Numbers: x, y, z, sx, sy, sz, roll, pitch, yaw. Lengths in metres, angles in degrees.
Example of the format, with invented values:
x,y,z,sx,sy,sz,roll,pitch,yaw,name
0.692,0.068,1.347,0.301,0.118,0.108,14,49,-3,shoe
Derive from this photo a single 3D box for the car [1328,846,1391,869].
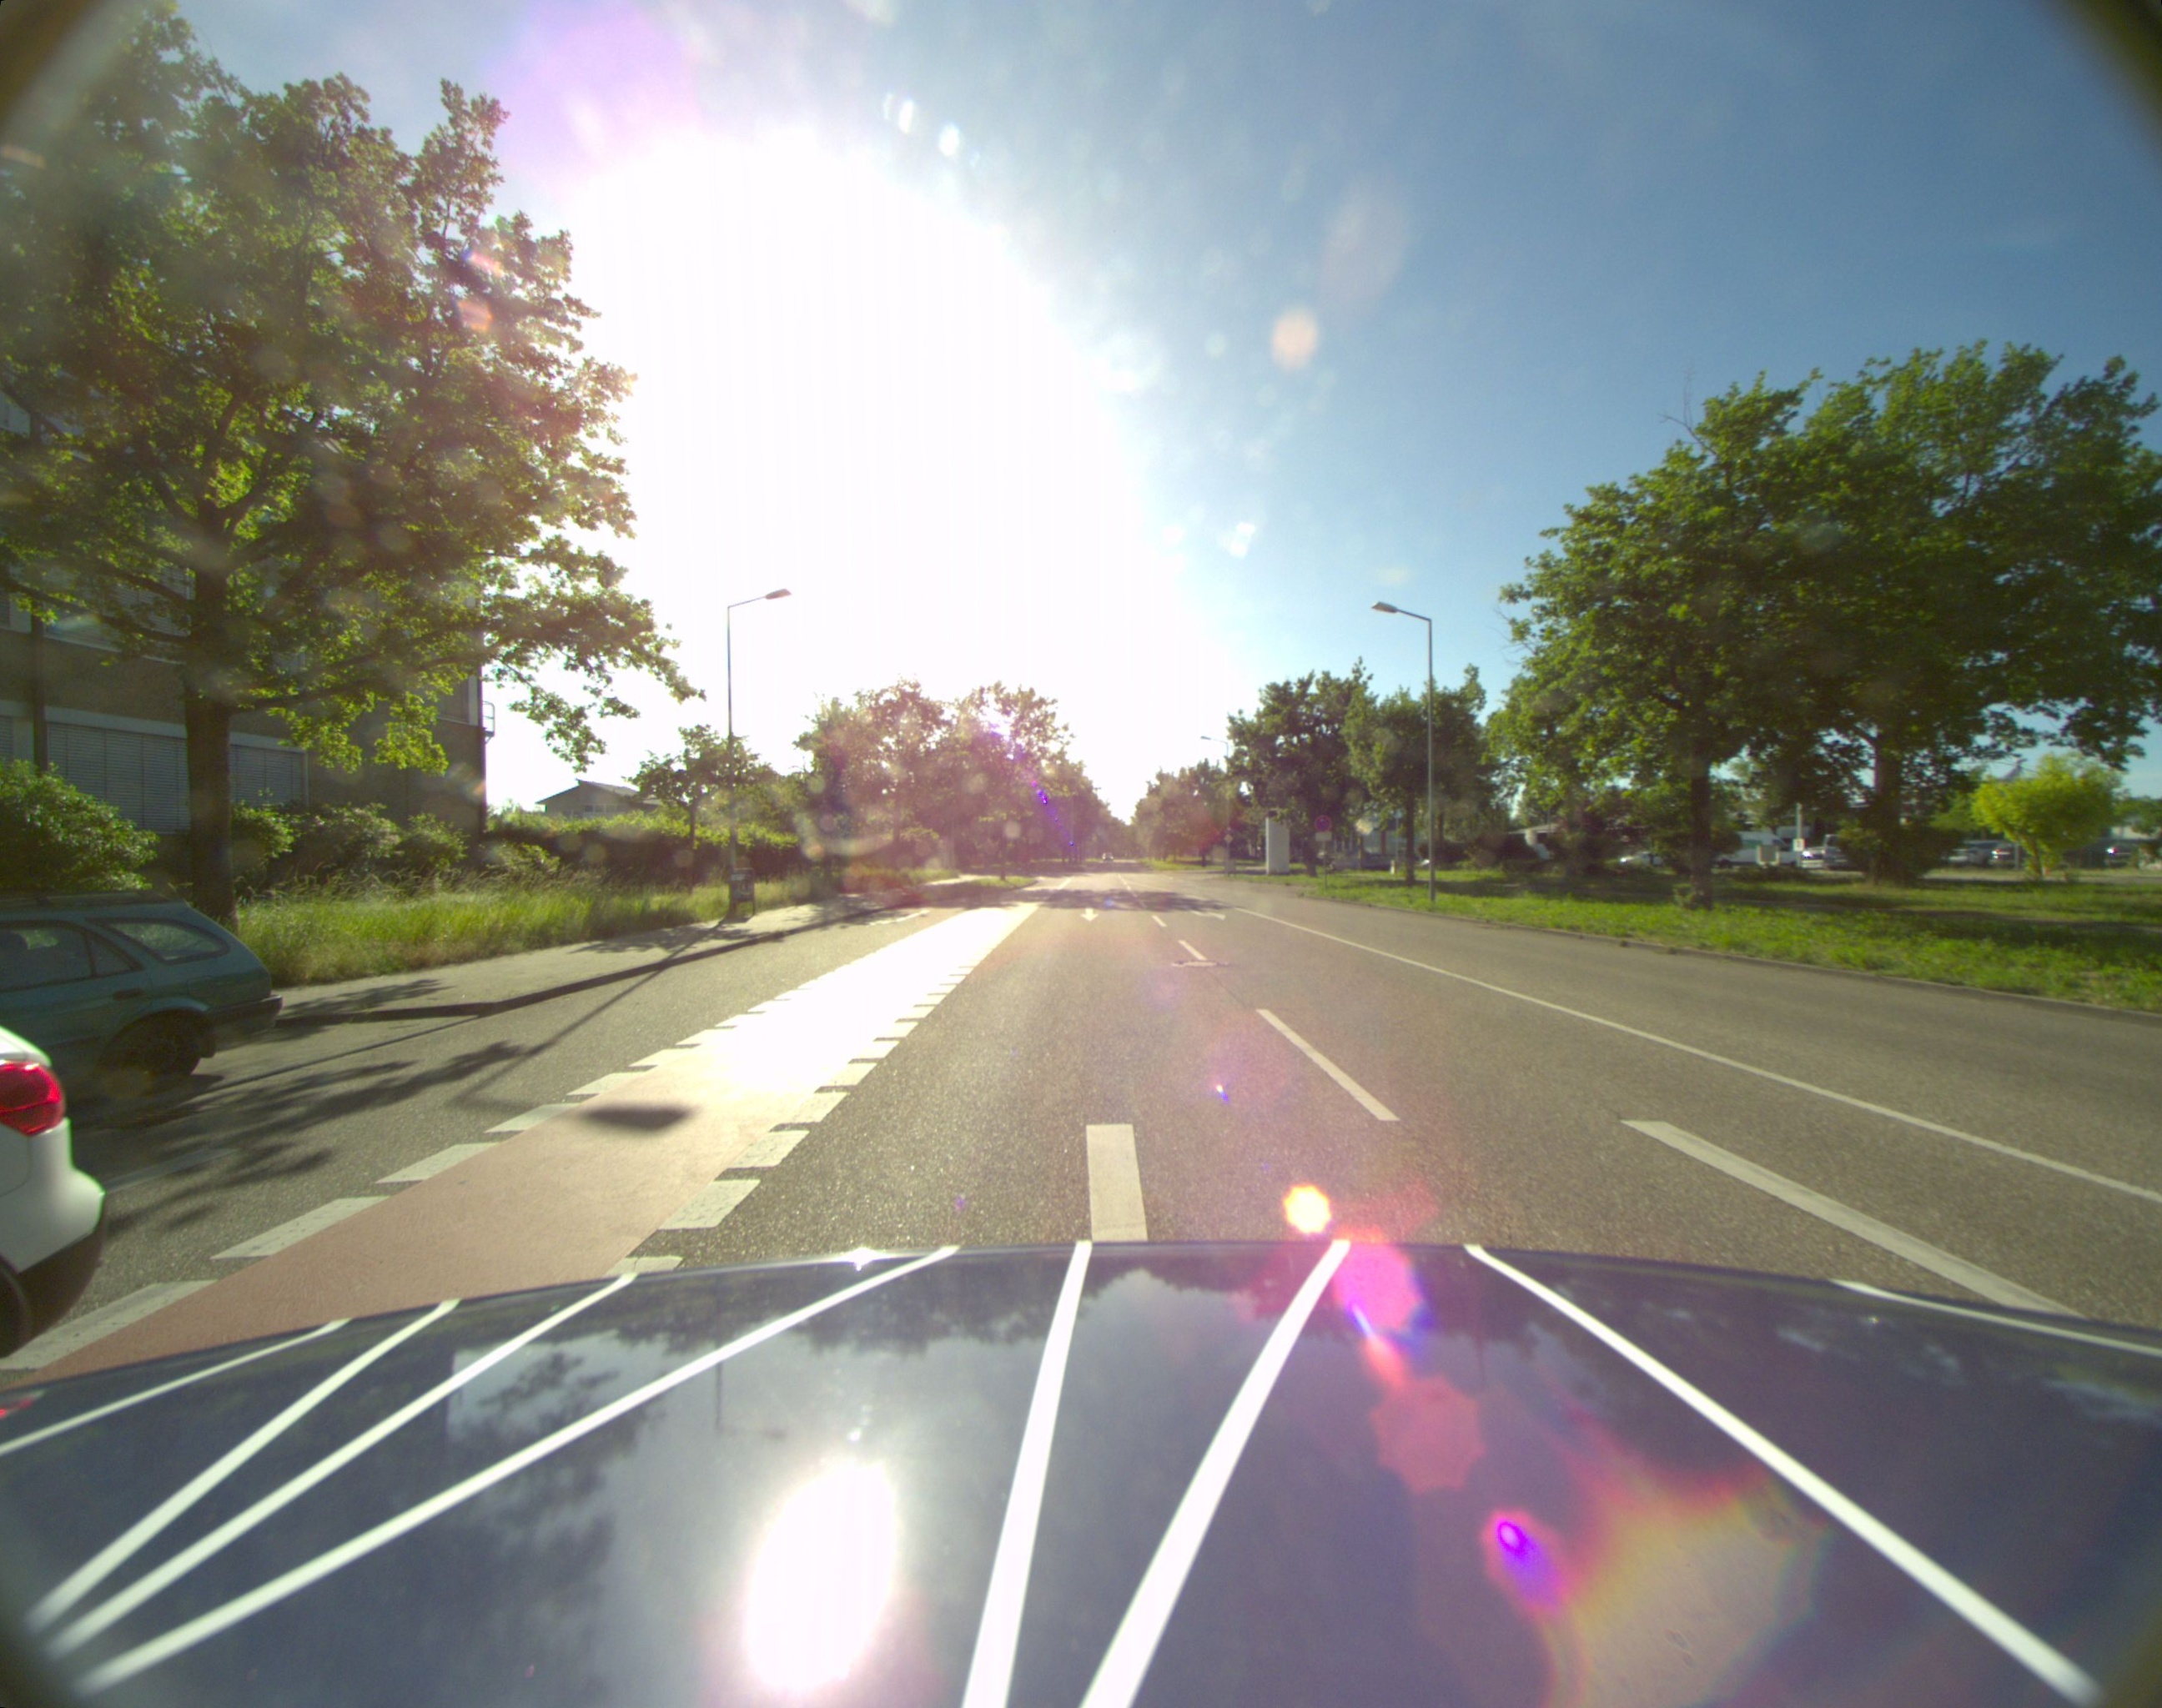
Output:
x,y,z,sx,sy,sz,roll,pitch,yaw,name
23.931,0.300,65.364,4.637,1.822,2.000,-2,1,0,car

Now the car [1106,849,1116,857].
x,y,z,sx,sy,sz,roll,pitch,yaw,name
5.201,-0.217,132.703,1.653,1.460,3.941,-1,0,2,car

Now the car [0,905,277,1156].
x,y,z,sx,sy,sz,roll,pitch,yaw,name
-7.526,1.135,4.215,1.706,1.460,4.141,-1,-1,0,car

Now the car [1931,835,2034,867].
x,y,z,sx,sy,sz,roll,pitch,yaw,name
52.090,-0.199,43.952,3.860,1.661,1.762,-2,1,0,car

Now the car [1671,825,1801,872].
x,y,z,sx,sy,sz,roll,pitch,yaw,name
39.902,-0.332,46.390,6.023,2.540,2.409,-2,1,-4,car

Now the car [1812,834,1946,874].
x,y,z,sx,sy,sz,roll,pitch,yaw,name
40.062,0.002,38.213,4.642,1.771,1.990,-2,1,0,car

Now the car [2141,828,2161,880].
x,y,z,sx,sy,sz,roll,pitch,yaw,name
33.888,-0.078,22.033,3.817,1.562,1.736,-2,-1,0,car

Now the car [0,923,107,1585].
x,y,z,sx,sy,sz,roll,pitch,yaw,name
-3.740,1.015,0.111,1.721,1.598,4.070,-2,0,7,car
